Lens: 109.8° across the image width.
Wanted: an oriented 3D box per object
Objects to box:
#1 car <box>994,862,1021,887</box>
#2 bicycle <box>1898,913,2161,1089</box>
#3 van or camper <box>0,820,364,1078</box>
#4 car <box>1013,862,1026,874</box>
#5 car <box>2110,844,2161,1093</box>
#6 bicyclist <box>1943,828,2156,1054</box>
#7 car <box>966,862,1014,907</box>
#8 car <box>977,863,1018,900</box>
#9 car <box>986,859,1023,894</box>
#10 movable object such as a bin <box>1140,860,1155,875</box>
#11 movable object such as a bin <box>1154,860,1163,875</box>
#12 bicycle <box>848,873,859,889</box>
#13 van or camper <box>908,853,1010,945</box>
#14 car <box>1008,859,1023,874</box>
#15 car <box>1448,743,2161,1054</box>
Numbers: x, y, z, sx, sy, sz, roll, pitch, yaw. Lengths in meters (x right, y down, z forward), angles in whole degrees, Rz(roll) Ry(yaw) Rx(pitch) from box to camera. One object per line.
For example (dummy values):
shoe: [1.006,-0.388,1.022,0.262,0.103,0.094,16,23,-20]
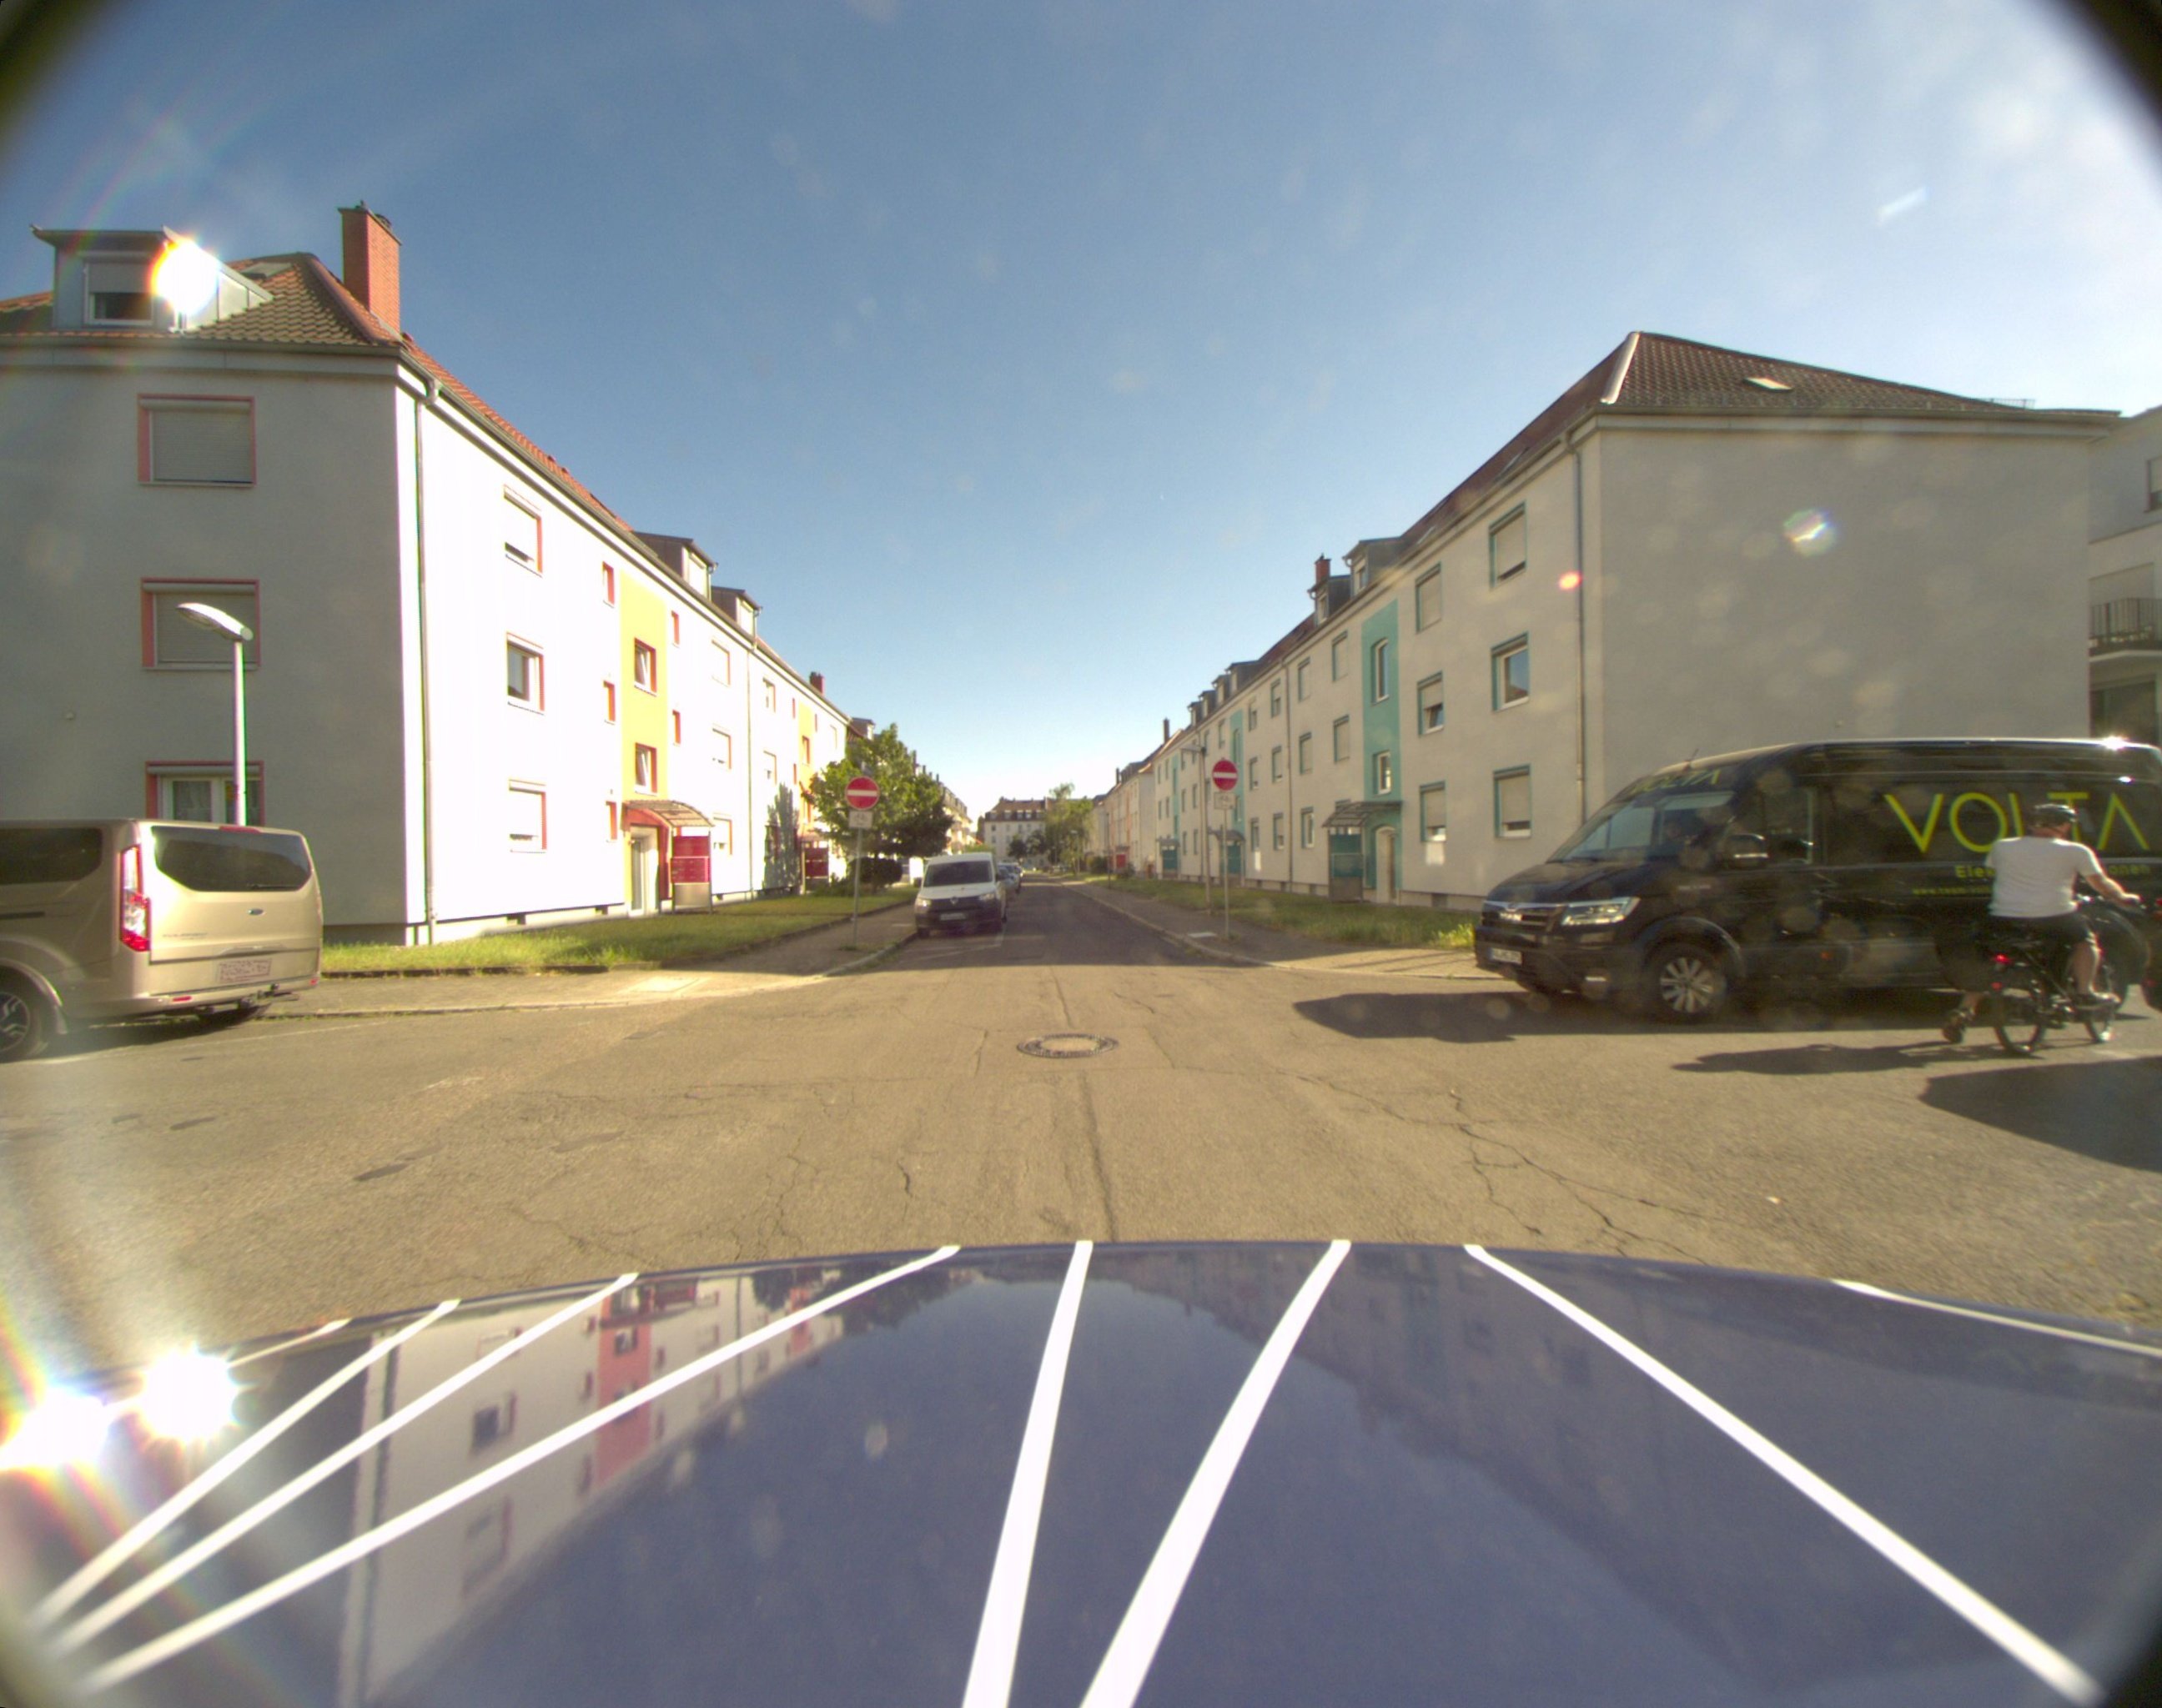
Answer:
car: [-4.989,1.360,52.100,1.732,1.597,4.422,0,-1,-4]
bicycle: [7.213,1.041,5.647,1.816,1.109,0.628,-1,2,-10]
van or camper: [-10.024,0.795,6.722,5.140,2.001,1.999,-1,-2,-7]
car: [-8.775,1.958,108.061,1.709,1.562,4.733,0,0,-3]
car: [9.485,0.780,4.588,4.501,1.654,1.718,0,1,-4]
bicyclist: [7.151,0.606,5.637,0.907,1.569,0.597,0,1,-9]
car: [-3.396,1.092,28.096,1.622,1.541,3.608,1,-1,-8]
car: [-3.553,1.147,32.520,1.633,1.441,3.950,-1,-1,-6]
car: [-4.193,1.187,41.499,1.781,1.709,4.305,-3,0,-6]
movable object such as a bin: [5.980,1.201,68.373,1.167,1.385,0.877,0,0,-4]
movable object such as a bin: [6.974,1.201,68.457,0.753,1.385,0.763,0,0,-4]
bicycle: [-14.184,1.657,47.388,0.320,0.940,1.283,1,0,-2]
van or camper: [-2.678,0.919,17.654,1.797,1.737,4.733,-4,0,-4]
car: [-8.781,1.676,102.137,1.954,1.889,4.762,0,0,-3]
car: [7.029,0.346,7.415,5.957,2.530,1.999,-1,0,-3]
